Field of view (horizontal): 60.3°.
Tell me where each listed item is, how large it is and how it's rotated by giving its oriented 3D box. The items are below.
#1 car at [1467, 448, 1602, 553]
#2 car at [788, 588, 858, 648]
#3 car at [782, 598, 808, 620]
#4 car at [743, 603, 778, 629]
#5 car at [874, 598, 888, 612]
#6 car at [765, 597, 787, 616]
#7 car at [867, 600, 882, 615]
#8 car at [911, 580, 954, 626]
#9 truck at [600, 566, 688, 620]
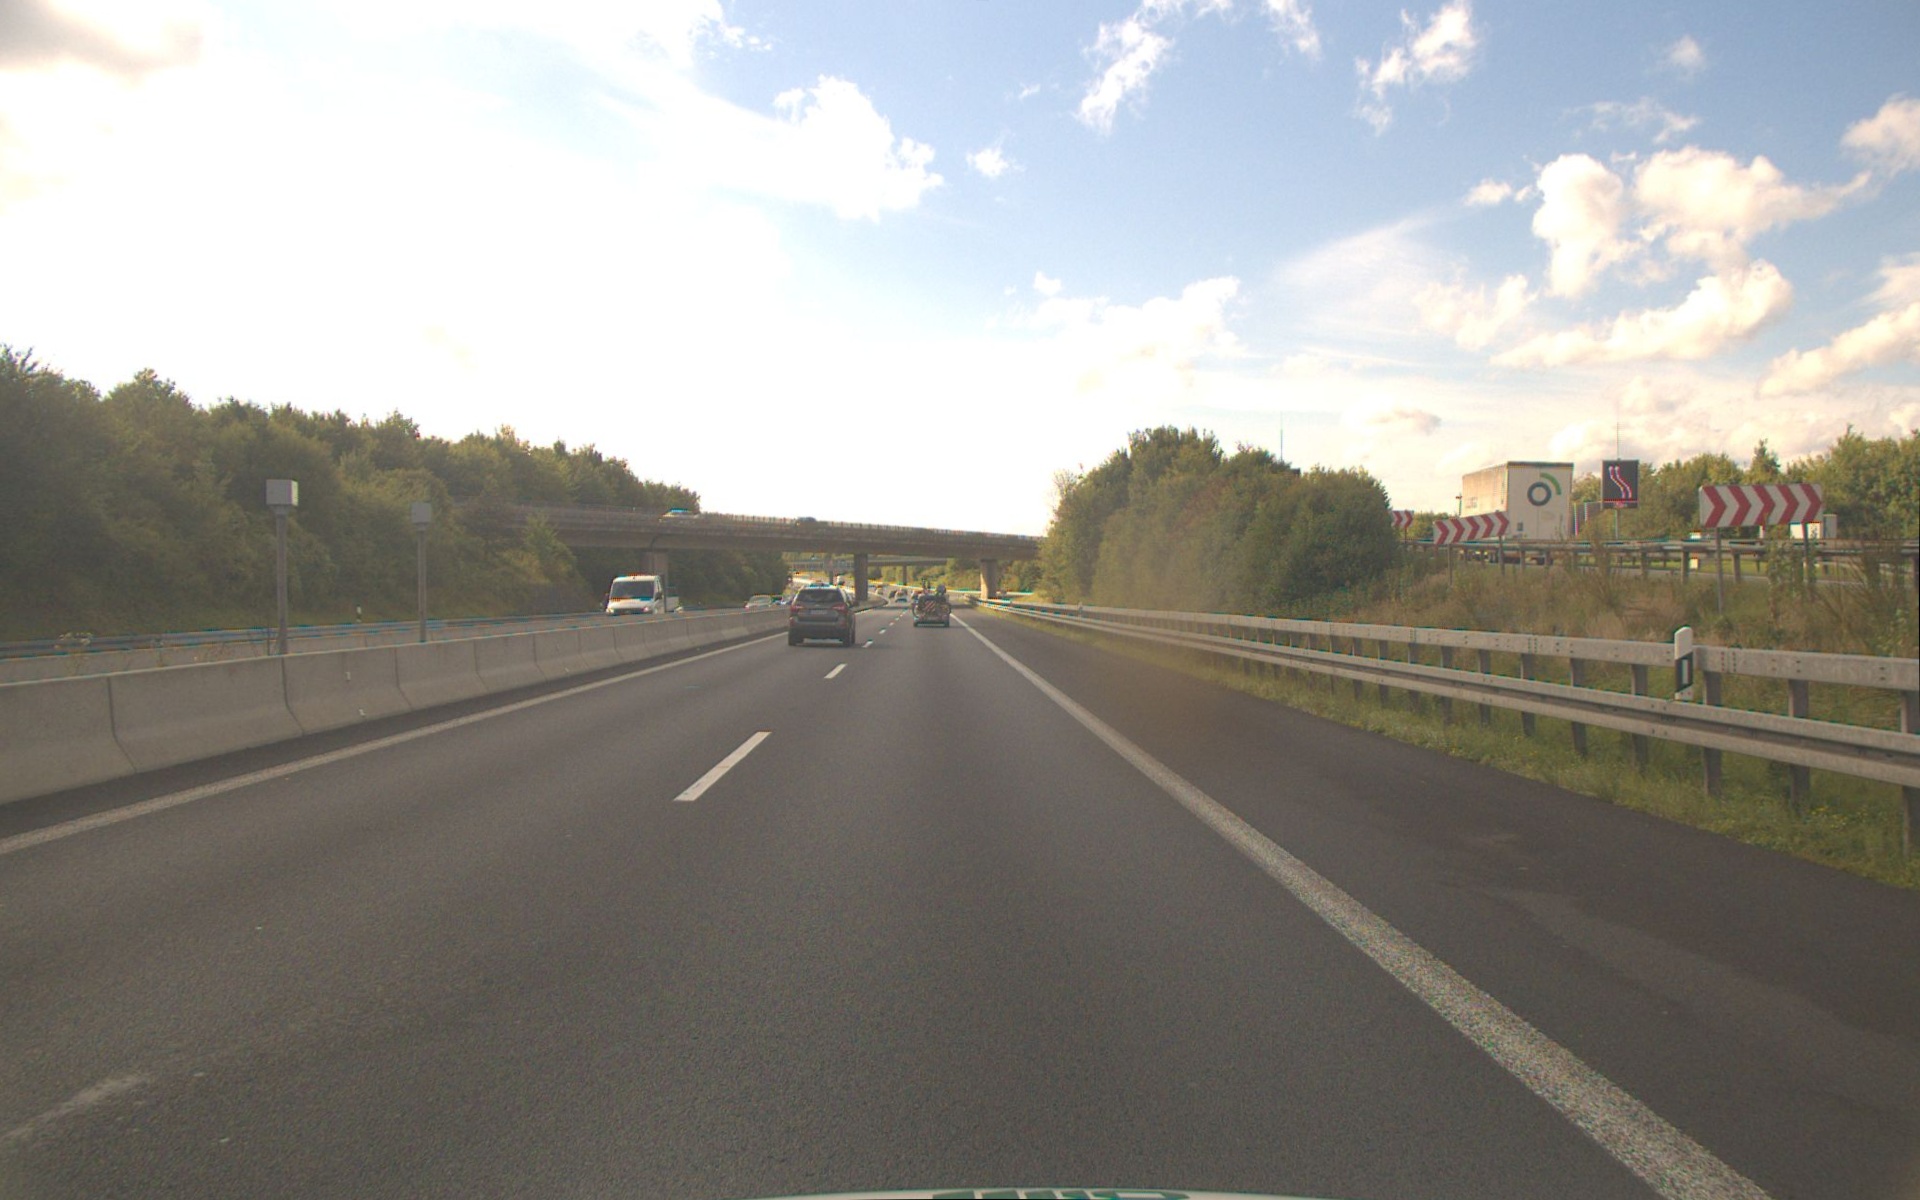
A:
[{"bbox_3d":[23.240,-3.929,67.400,3.500,3.741,7.554,-2,0,6],"label":"car"},{"bbox_3d":[-4.044,0.516,49.135,1.714,1.659,3.609,-2,0,0],"label":"car"},{"bbox_3d":[-14.891,0.780,149.494,1.953,1.929,5.139,-2,0,-2],"label":"car"},{"bbox_3d":[-13.955,1.103,115.888,1.953,1.677,5.194,-2,0,-1],"label":"car"},{"bbox_3d":[-12.026,0.716,251.548,1.953,2.049,3.999,-2,0,-1],"label":"car"},{"bbox_3d":[-20.230,0.716,182.311,1.953,1.929,4.821,-2,0,-2],"label":"car"},{"bbox_3d":[-11.878,1.010,229.266,1.953,2.049,3.999,-2,0,-1],"label":"car"},{"bbox_3d":[-1.337,0.121,79.924,1.953,2.117,3.999,-2,0,-1],"label":"car"},{"bbox_3d":[-13.020,-0.286,68.700,2.328,2.049,7.434,-2,0,-1],"label":"truck"}]
